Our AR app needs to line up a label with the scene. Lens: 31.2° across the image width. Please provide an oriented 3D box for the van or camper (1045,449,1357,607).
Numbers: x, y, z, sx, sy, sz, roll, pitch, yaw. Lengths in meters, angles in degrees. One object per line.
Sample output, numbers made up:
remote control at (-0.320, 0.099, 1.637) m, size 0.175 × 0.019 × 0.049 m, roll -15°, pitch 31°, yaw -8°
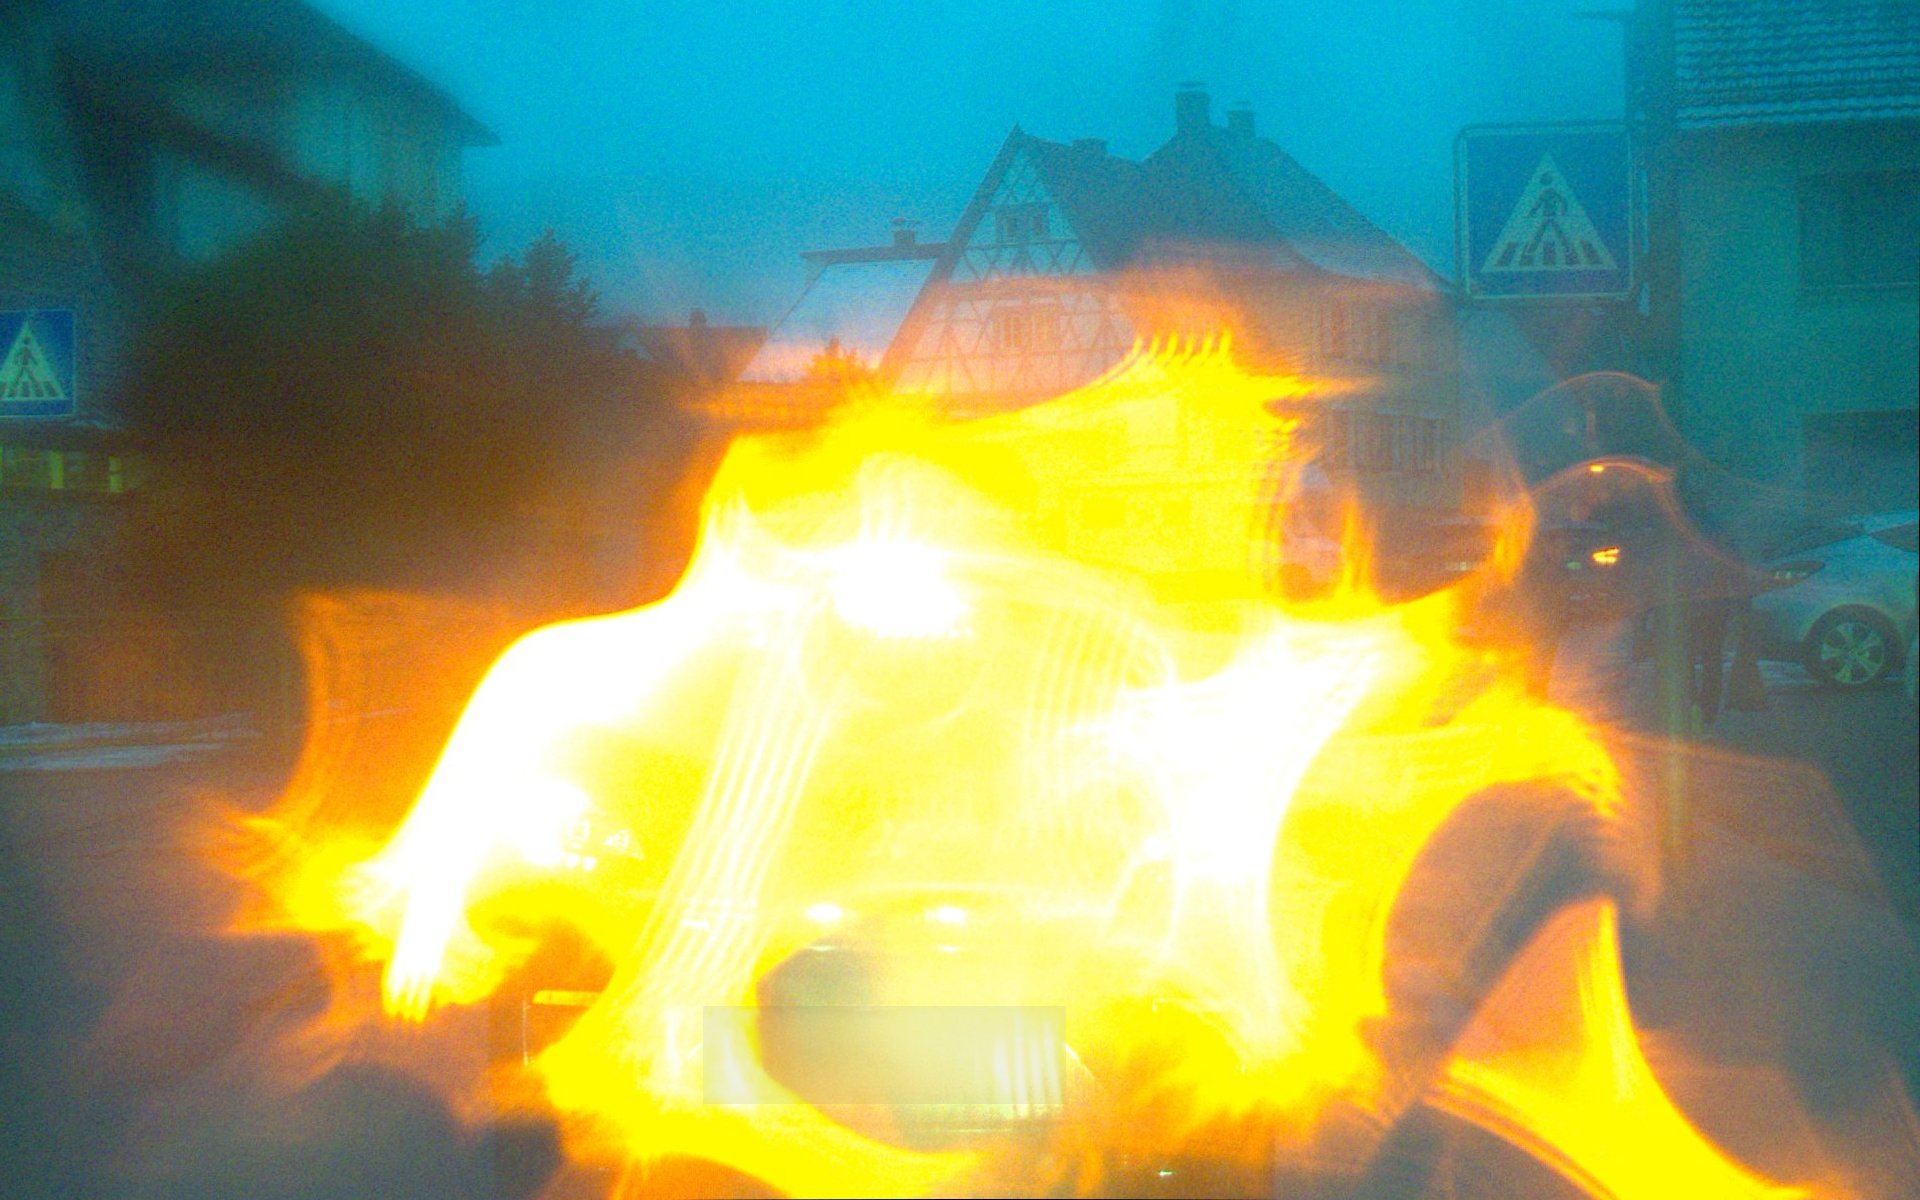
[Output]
van or camper at (5.166, -1.522, 73.709) m, size 6.067 × 2.945 × 2.403 m, roll -4°, pitch 0°, yaw 23°

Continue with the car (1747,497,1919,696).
car at (8.200, -0.092, 26.809) m, size 3.901 × 1.469 × 1.750 m, roll -2°, pitch 1°, yaw 11°

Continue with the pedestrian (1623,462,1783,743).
pedestrian at (4.795, 0.007, 22.151) m, size 0.849 × 1.727 × 0.971 m, roll -4°, pitch 1°, yaw 16°

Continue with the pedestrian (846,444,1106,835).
pedestrian at (0.087, 0.171, 16.088) m, size 0.880 × 1.729 × 0.955 m, roll -4°, pitch 1°, yaw 16°

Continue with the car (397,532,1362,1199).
car at (-0.311, 0.580, 8.395) m, size 1.795 × 1.471 × 4.001 m, roll 0°, pitch 1°, yaw -5°

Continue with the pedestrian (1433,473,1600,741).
pedestrian at (3.639, 0.031, 22.424) m, size 0.867 × 1.661 × 0.991 m, roll -4°, pitch 1°, yaw 15°

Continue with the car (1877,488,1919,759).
car at (6.830, 0.069, 20.159) m, size 2.583 × 1.542 × 1.551 m, roll -2°, pitch 2°, yaw 8°

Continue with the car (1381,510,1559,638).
car at (6.897, -0.375, 46.173) m, size 1.849 × 1.631 × 4.333 m, roll 0°, pitch 1°, yaw 15°
